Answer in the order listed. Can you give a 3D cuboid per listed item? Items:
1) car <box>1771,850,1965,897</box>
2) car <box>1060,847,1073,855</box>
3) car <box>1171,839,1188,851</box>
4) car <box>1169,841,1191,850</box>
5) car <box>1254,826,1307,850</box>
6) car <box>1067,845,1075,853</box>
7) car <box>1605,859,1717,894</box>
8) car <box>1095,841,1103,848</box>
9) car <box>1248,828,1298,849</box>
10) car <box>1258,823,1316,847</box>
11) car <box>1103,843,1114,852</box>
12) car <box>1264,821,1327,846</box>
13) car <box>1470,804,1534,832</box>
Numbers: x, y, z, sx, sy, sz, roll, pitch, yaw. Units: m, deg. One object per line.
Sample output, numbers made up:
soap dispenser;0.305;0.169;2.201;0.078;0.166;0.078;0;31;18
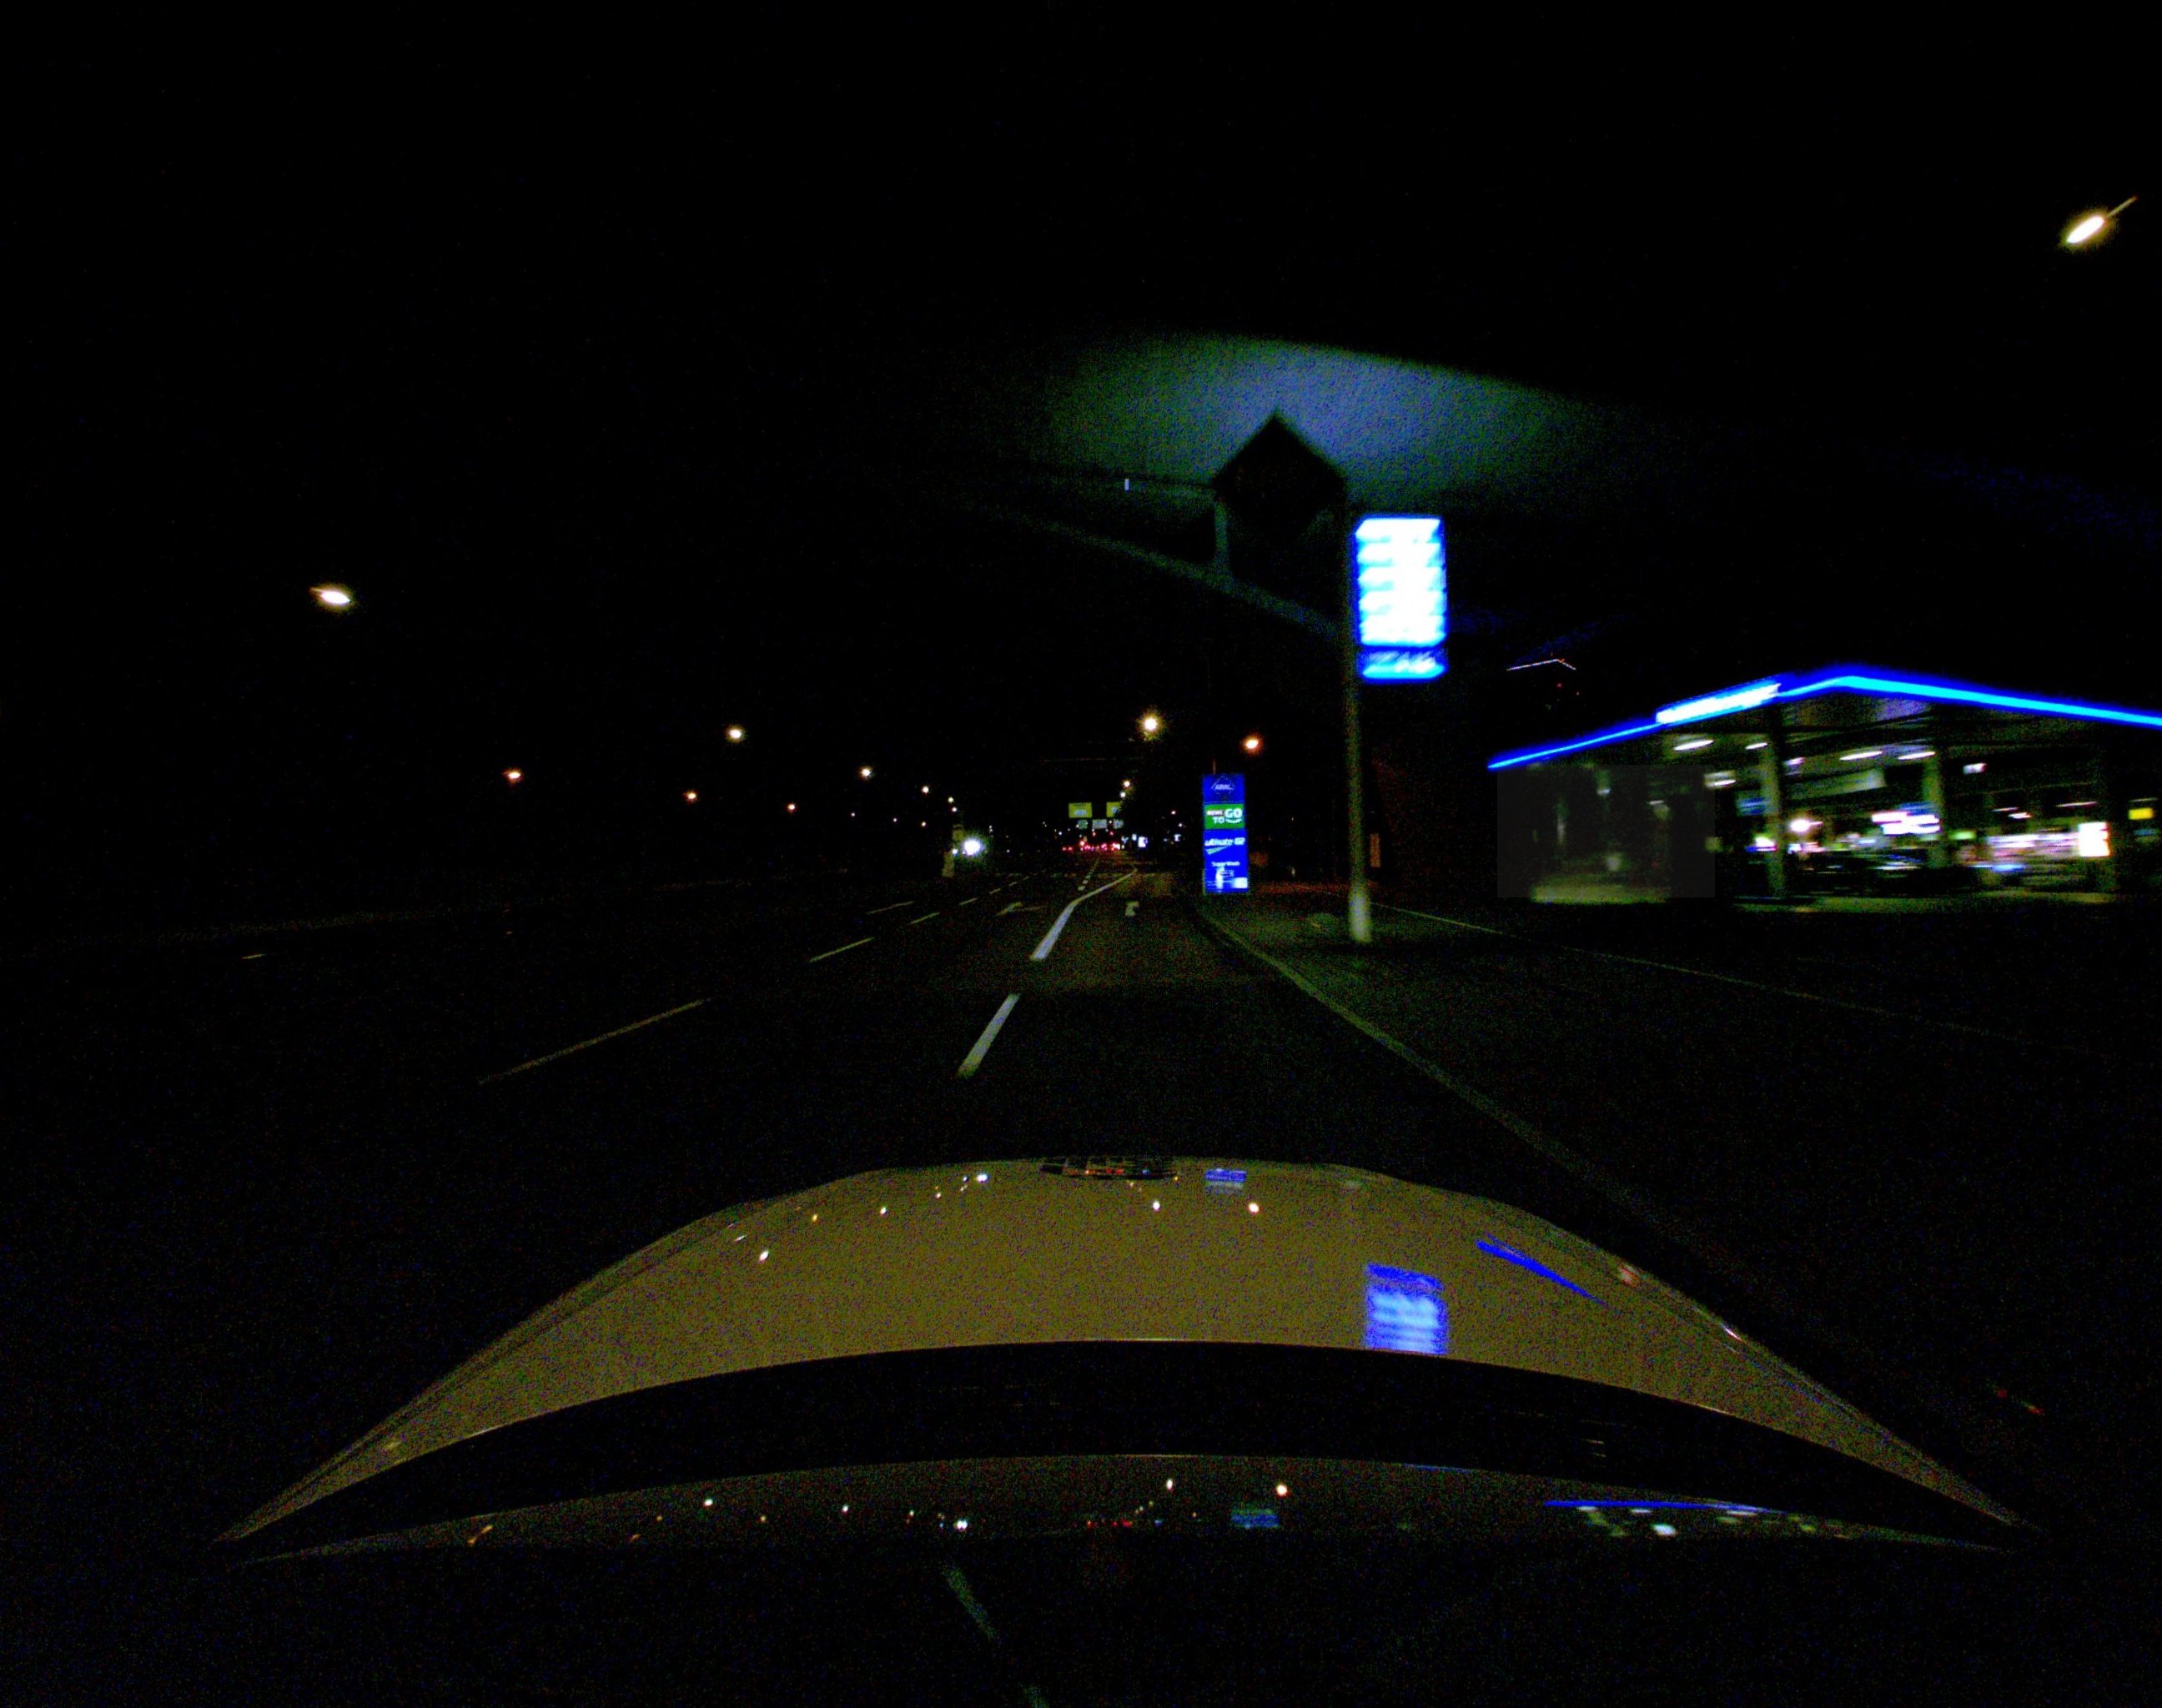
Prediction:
car;24.850;0.597;25.990;1.922;1.363;4.331;-1;-1;-2
car;-3.171;-0.620;173.690;1.970;1.711;3.981;1;-1;-14
car;16.745;-1.449;138.283;1.977;1.945;4.019;0;-1;19
car;17.359;-1.445;143.383;3.615;1.451;1.706;0;-1;-2
car;15.880;-1.277;64.904;3.735;1.587;1.780;-4;-2;0
car;-2.435;-1.231;197.456;1.778;1.711;3.995;0;-1;-3
car;24.405;0.922;34.449;1.649;1.359;4.063;0;-1;-4
car;4.789;-2.543;217.446;1.996;1.552;4.299;0;-1;4
car;15.873;-1.300;67.440;3.713;1.489;1.742;-3;-1;0
car;15.756;-1.432;62.346;3.970;1.571;1.740;-3;-1;3
car;5.511;-1.268;163.740;1.959;1.711;4.004;0;-1;4
car;15.794;-1.517;60.121;4.102;1.522;1.824;-3;-2;3
car;30.833;-2.623;59.724;3.798;1.895;1.751;0;-1;-2
